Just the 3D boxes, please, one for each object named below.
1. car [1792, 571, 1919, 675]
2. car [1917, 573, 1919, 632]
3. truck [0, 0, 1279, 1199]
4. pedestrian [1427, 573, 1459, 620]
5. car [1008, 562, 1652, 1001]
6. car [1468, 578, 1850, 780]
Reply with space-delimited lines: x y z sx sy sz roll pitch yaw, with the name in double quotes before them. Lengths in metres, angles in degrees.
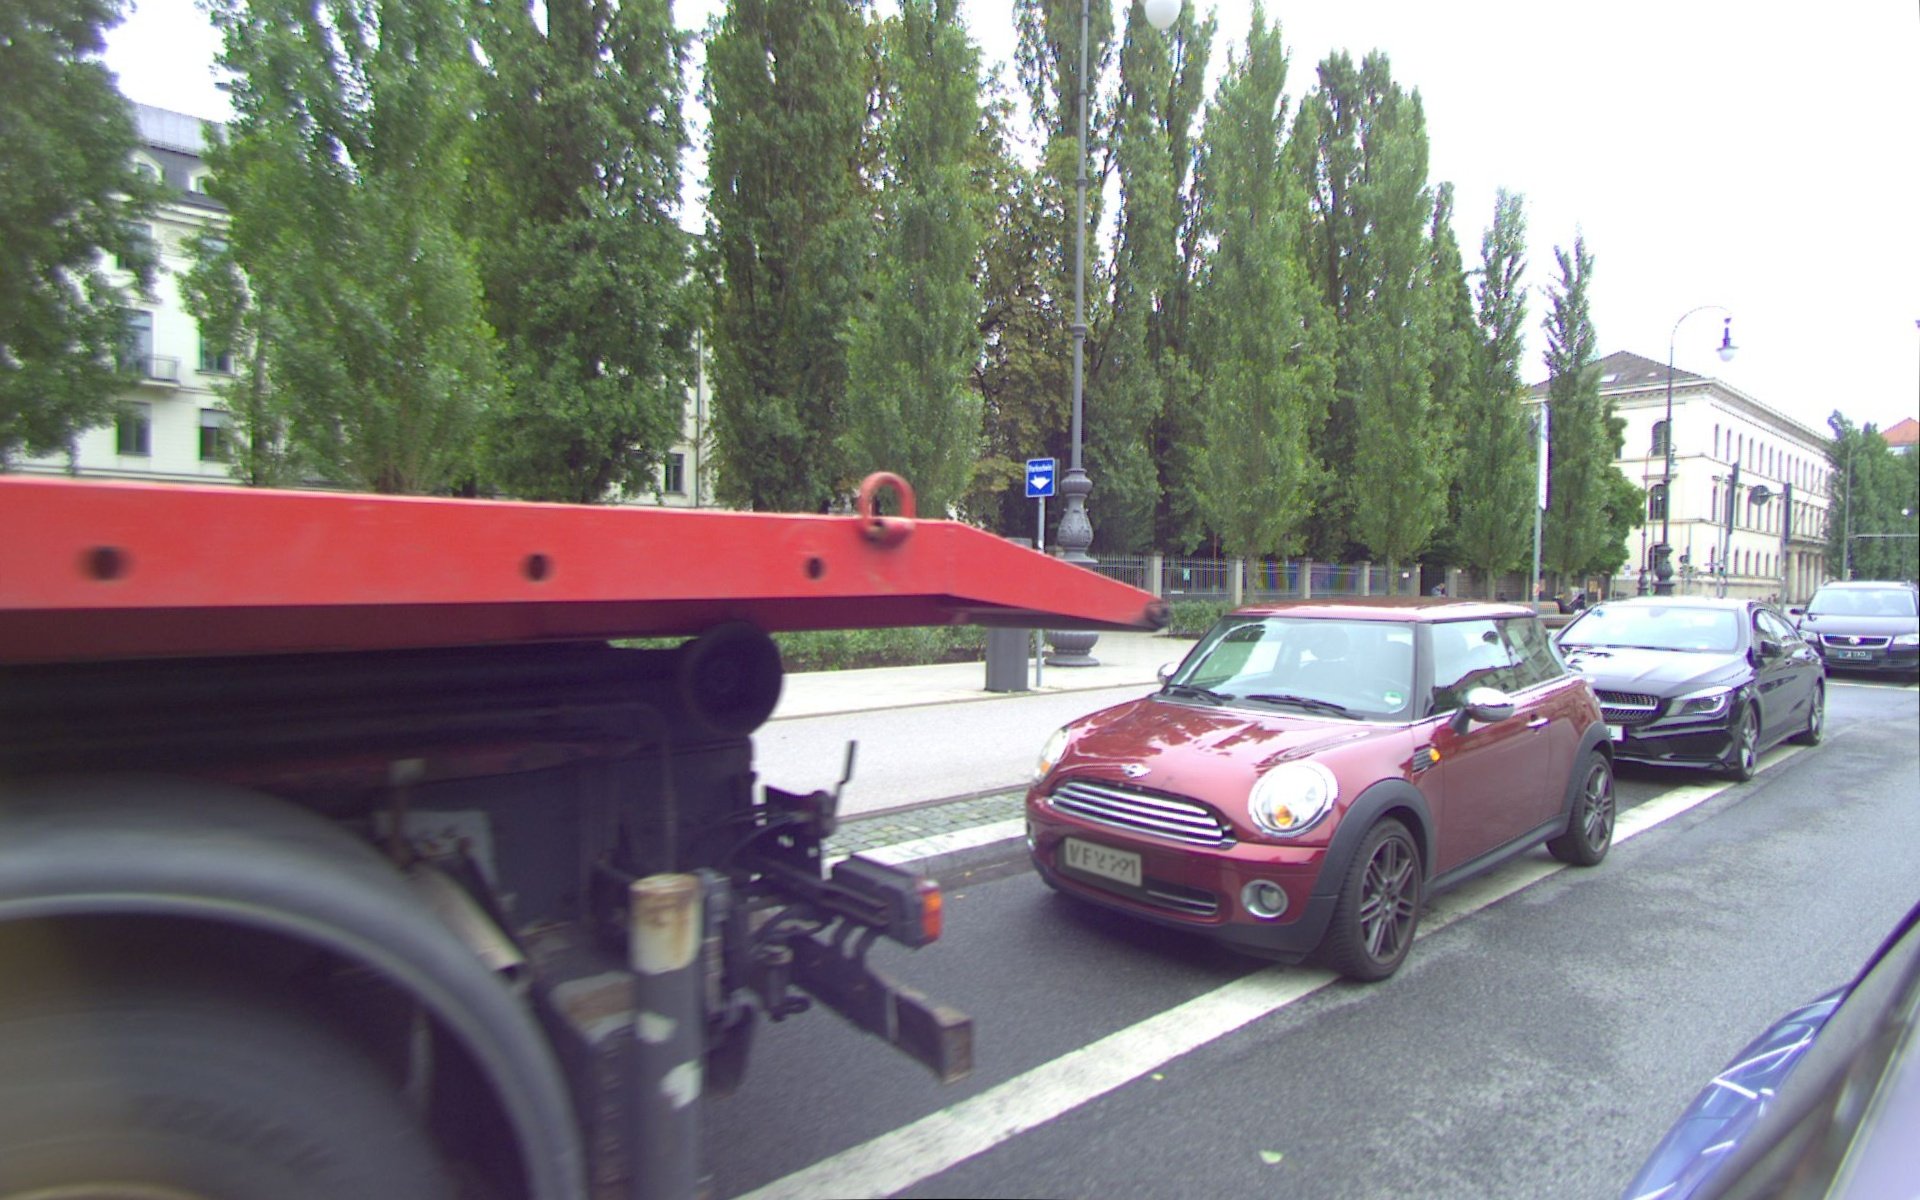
"car" 16.256 0.341 17.964 4.297 1.627 1.843 -1 2 -45
"car" 31.401 0.125 30.996 2.051 1.951 5.660 1 1 33
"truck" -3.963 -0.457 0.191 10.099 3.609 2.850 0 1 -41
"pedestrian" 18.664 -0.148 39.132 0.869 1.793 0.811 0 1 -42
"car" 2.085 0.585 5.205 3.589 1.487 1.564 0 2 -41
"car" 6.554 0.530 9.292 4.361 1.409 1.845 0 2 -41
